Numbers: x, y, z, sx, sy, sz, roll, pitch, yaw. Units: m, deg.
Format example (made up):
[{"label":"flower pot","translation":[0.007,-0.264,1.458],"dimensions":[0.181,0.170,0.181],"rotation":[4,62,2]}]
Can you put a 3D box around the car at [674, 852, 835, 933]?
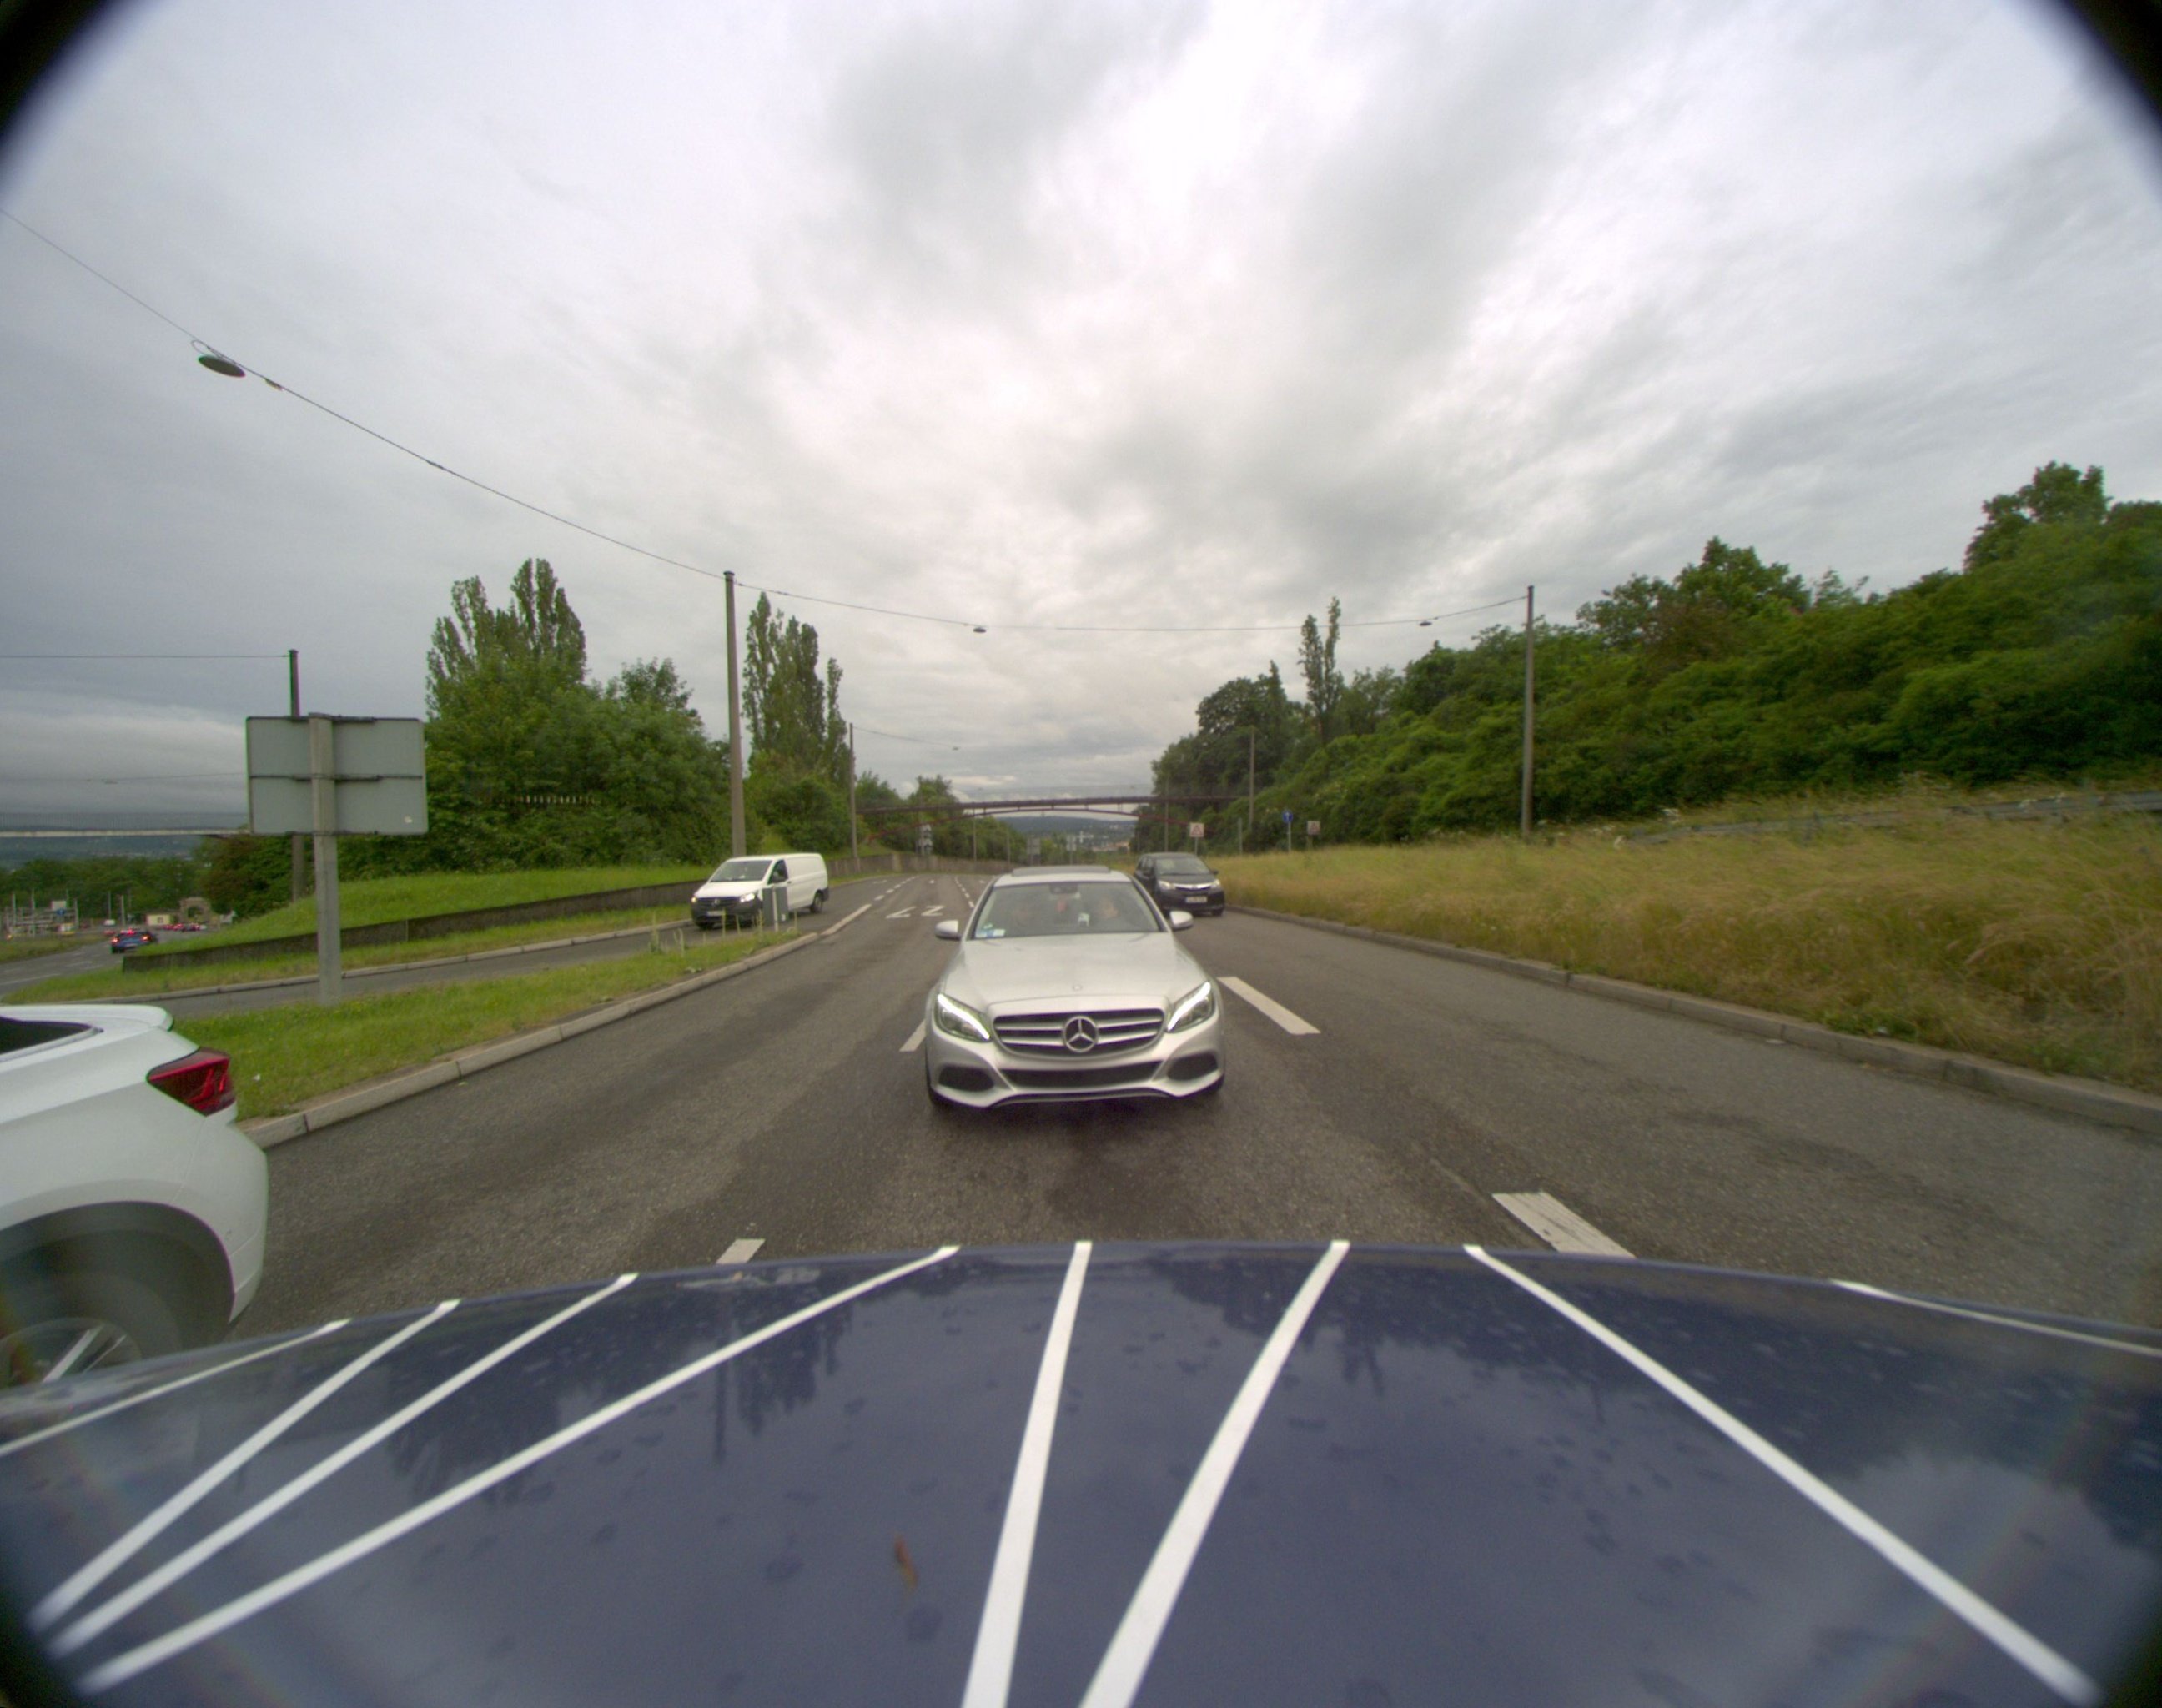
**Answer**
[{"label":"car","translation":[-9.120,0.984,21.785],"dimensions":[1.998,1.837,4.825],"rotation":[-4,1,6]}]

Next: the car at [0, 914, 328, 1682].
[{"label":"car","translation":[-3.081,1.016,0.142],"dimensions":[1.718,1.544,4.227],"rotation":[-2,1,-3]}]

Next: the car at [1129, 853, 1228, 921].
[{"label":"car","translation":[2.375,0.777,19.453],"dimensions":[1.647,1.495,3.776],"rotation":[-2,0,-6]}]

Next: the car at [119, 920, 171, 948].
[{"label":"car","translation":[-64.057,5.414,52.046],"dimensions":[1.703,1.467,4.280],"rotation":[-3,2,-44]}]

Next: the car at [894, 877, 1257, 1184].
[{"label":"car","translation":[-0.197,0.978,6.081],"dimensions":[1.895,1.361,4.132],"rotation":[-2,1,-5]}]
